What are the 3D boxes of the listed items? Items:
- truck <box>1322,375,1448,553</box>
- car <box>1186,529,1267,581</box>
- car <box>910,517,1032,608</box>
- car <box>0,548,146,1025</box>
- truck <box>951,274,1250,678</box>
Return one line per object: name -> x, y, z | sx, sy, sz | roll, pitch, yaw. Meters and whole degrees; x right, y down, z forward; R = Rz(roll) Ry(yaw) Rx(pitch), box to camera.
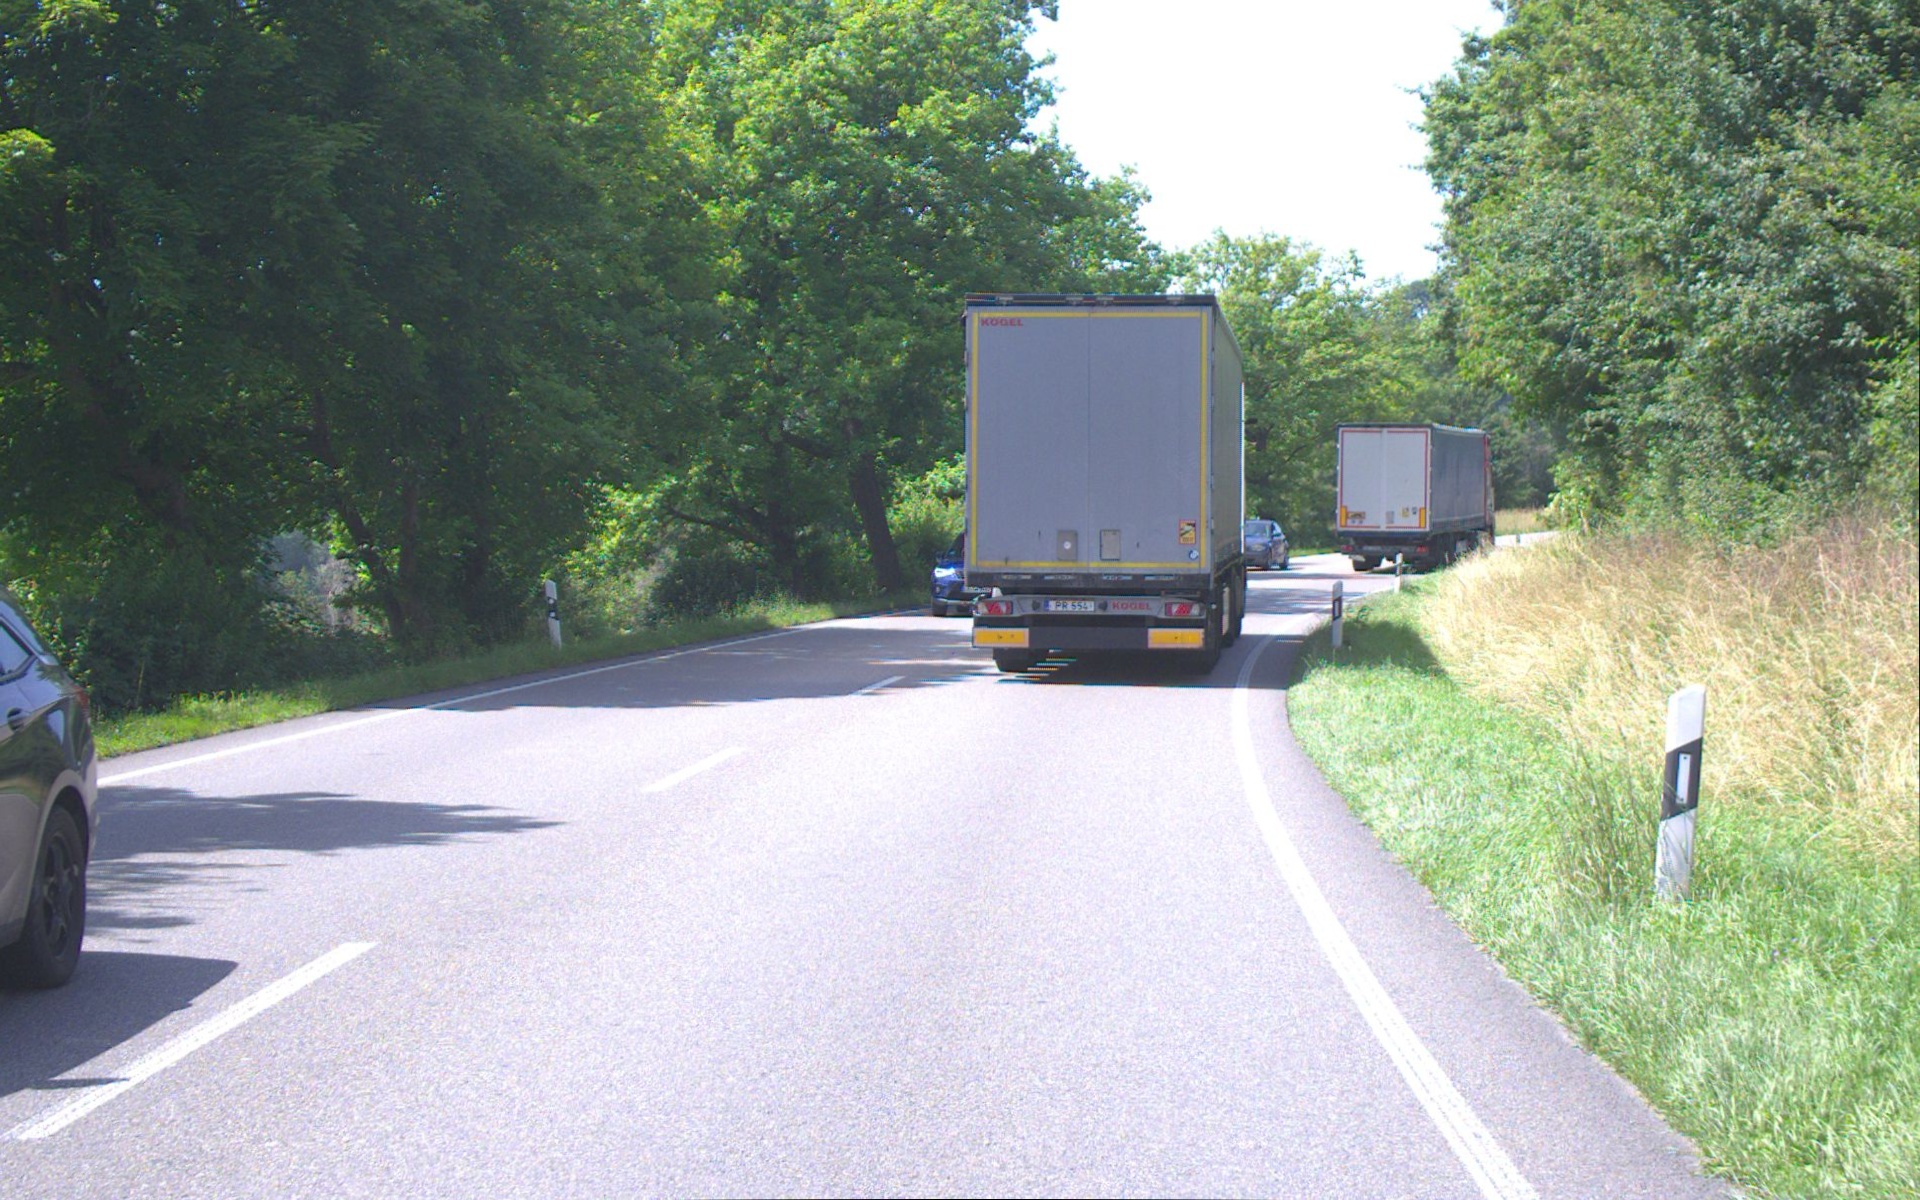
truck -> 12.504, -3.928, 99.865 | 3.106, 4.689, 16.585 | -1, 2, 9
car -> 7.594, -1.288, 97.723 | 1.759, 1.427, 4.268 | 0, 1, 12
car -> 0.226, -0.670, 60.282 | 1.670, 1.526, 3.957 | -1, 1, 7
car -> -3.820, 0.586, 10.143 | 1.710, 1.466, 4.375 | 0, 1, 1
truck -> 2.063, -1.544, 42.542 | 2.802, 4.054, 15.324 | 1, 2, 5
